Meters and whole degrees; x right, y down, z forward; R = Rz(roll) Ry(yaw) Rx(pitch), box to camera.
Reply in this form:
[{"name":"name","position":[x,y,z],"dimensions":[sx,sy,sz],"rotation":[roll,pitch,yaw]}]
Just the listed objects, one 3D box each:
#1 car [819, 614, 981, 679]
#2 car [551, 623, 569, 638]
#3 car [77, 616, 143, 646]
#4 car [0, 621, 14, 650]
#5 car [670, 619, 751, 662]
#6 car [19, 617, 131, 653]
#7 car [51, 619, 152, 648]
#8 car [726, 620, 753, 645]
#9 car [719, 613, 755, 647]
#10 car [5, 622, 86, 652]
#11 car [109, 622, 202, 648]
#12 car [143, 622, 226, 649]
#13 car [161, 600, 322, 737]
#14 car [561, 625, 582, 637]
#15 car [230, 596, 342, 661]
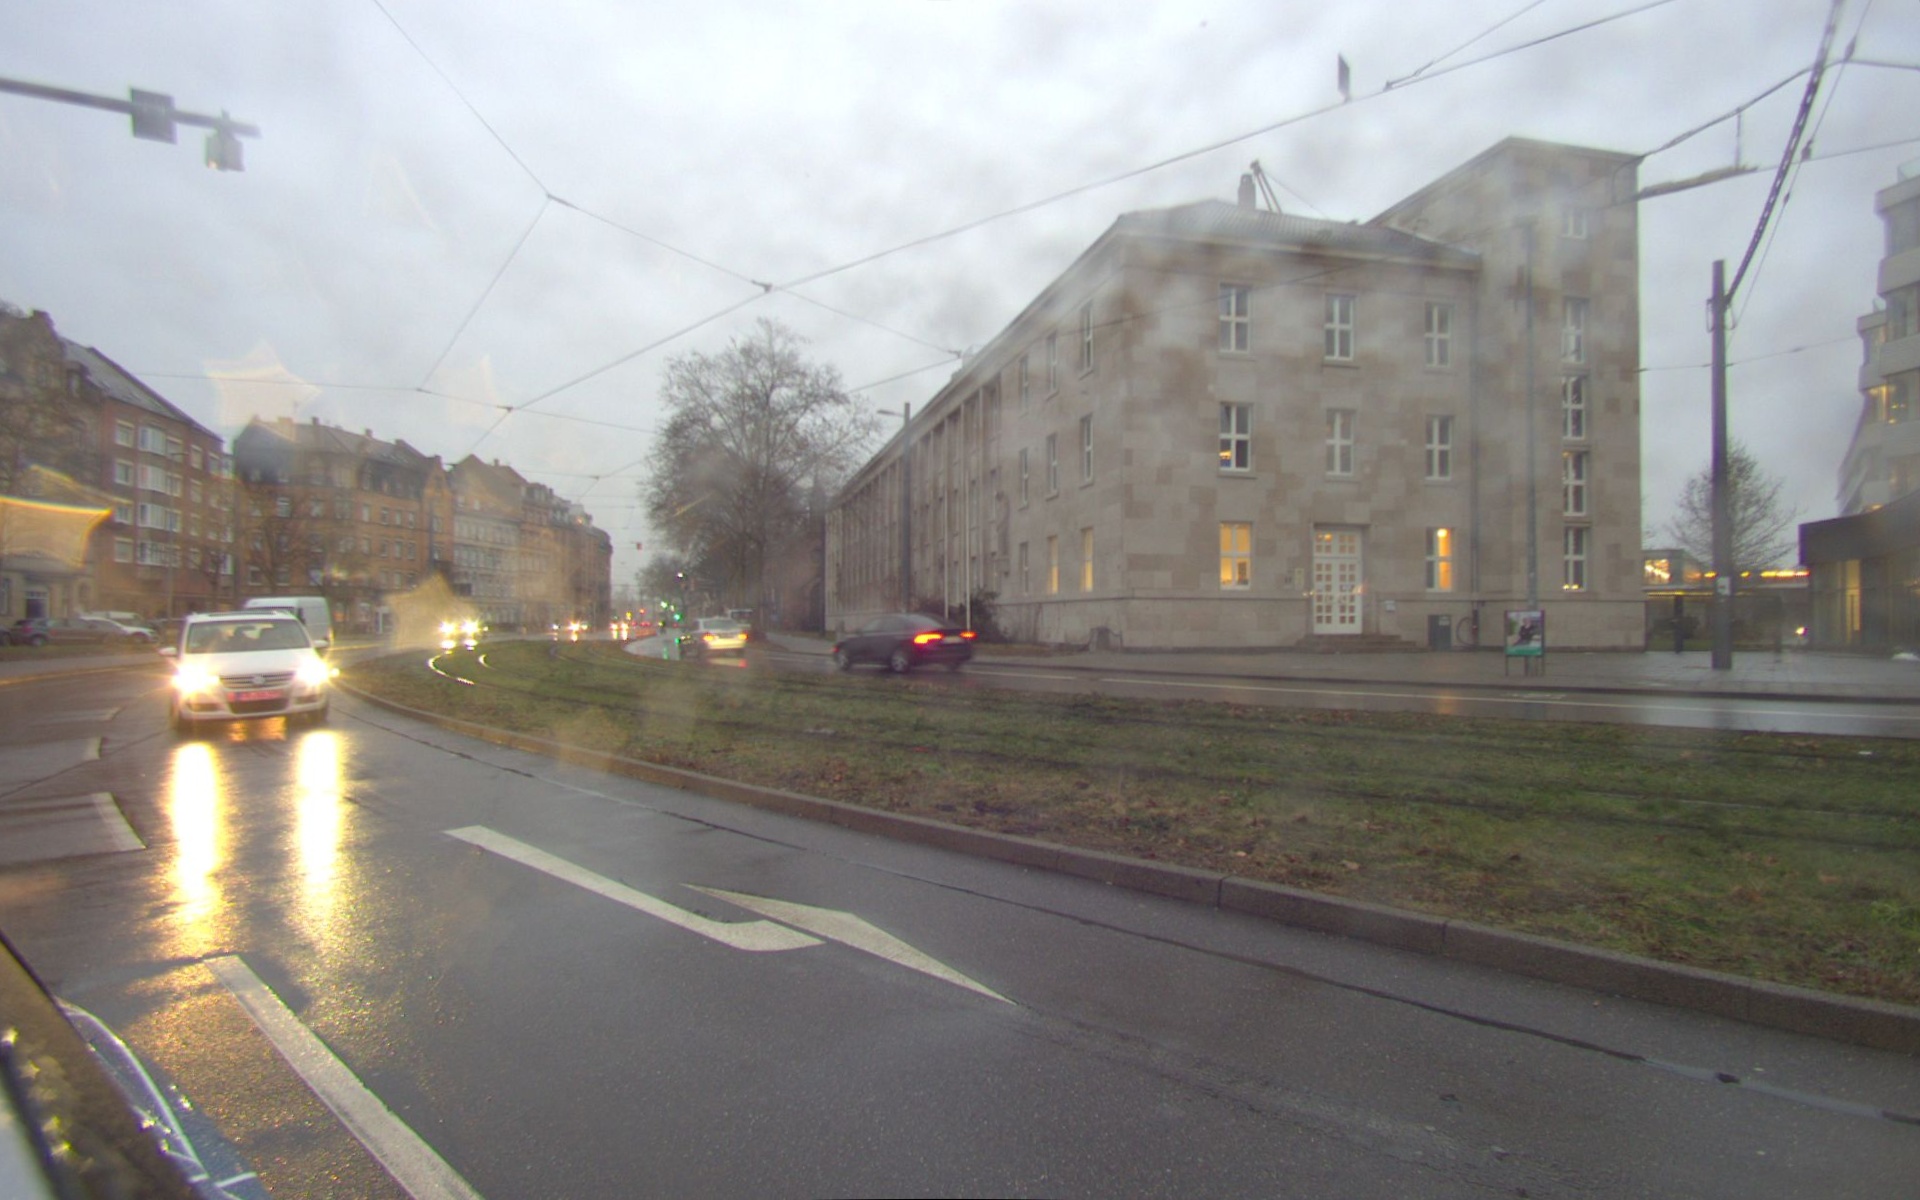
[{"name":"car","position":[-1.604,1.128,25.511],"dimensions":[1.636,1.411,4.530],"rotation":[-2,0,-40]},{"name":"car","position":[-46.725,3.547,118.312],"dimensions":[1.694,1.630,3.950],"rotation":[0,-2,-17]},{"name":"car","position":[-53.431,1.929,63.685],"dimensions":[1.648,1.716,3.473],"rotation":[-2,0,-10]},{"name":"car","position":[-50.684,1.832,51.831],"dimensions":[1.449,1.555,3.881],"rotation":[0,-2,-12]},{"name":"car","position":[-9.495,1.490,38.268],"dimensions":[1.795,1.446,4.670],"rotation":[-2,0,-28]},{"name":"car","position":[-40.830,1.594,46.745],"dimensions":[3.816,1.416,1.696],"rotation":[-2,0,-43]},{"name":"car","position":[-41.886,1.634,49.478],"dimensions":[3.706,1.342,1.605],"rotation":[1,-1,-39]},{"name":"car","position":[-13.493,1.956,61.868],"dimensions":[1.535,1.439,2.963],"rotation":[0,0,-14]},{"name":"car","position":[-14.618,1.904,66.254],"dimensions":[1.966,2.029,4.522],"rotation":[-2,0,-15]},{"name":"car","position":[-52.317,2.105,58.006],"dimensions":[1.666,1.554,4.010],"rotation":[-2,0,-12]},{"name":"car","position":[-42.727,1.845,53.761],"dimensions":[3.711,1.288,1.602],"rotation":[1,-2,-45]},{"name":"car","position":[-44.184,1.997,57.720],"dimensions":[3.706,1.364,1.605],"rotation":[-2,0,-39]},{"name":"car","position":[-10.667,0.912,14.898],"dimensions":[1.649,1.672,4.155],"rotation":[-2,0,-39]},{"name":"car","position":[-45.739,3.670,119.097],"dimensions":[1.865,1.424,3.958],"rotation":[0,-2,-15]},{"name":"car","position":[-27.126,1.103,40.968],"dimensions":[2.095,2.398,5.654],"rotation":[-2,0,-16]}]
